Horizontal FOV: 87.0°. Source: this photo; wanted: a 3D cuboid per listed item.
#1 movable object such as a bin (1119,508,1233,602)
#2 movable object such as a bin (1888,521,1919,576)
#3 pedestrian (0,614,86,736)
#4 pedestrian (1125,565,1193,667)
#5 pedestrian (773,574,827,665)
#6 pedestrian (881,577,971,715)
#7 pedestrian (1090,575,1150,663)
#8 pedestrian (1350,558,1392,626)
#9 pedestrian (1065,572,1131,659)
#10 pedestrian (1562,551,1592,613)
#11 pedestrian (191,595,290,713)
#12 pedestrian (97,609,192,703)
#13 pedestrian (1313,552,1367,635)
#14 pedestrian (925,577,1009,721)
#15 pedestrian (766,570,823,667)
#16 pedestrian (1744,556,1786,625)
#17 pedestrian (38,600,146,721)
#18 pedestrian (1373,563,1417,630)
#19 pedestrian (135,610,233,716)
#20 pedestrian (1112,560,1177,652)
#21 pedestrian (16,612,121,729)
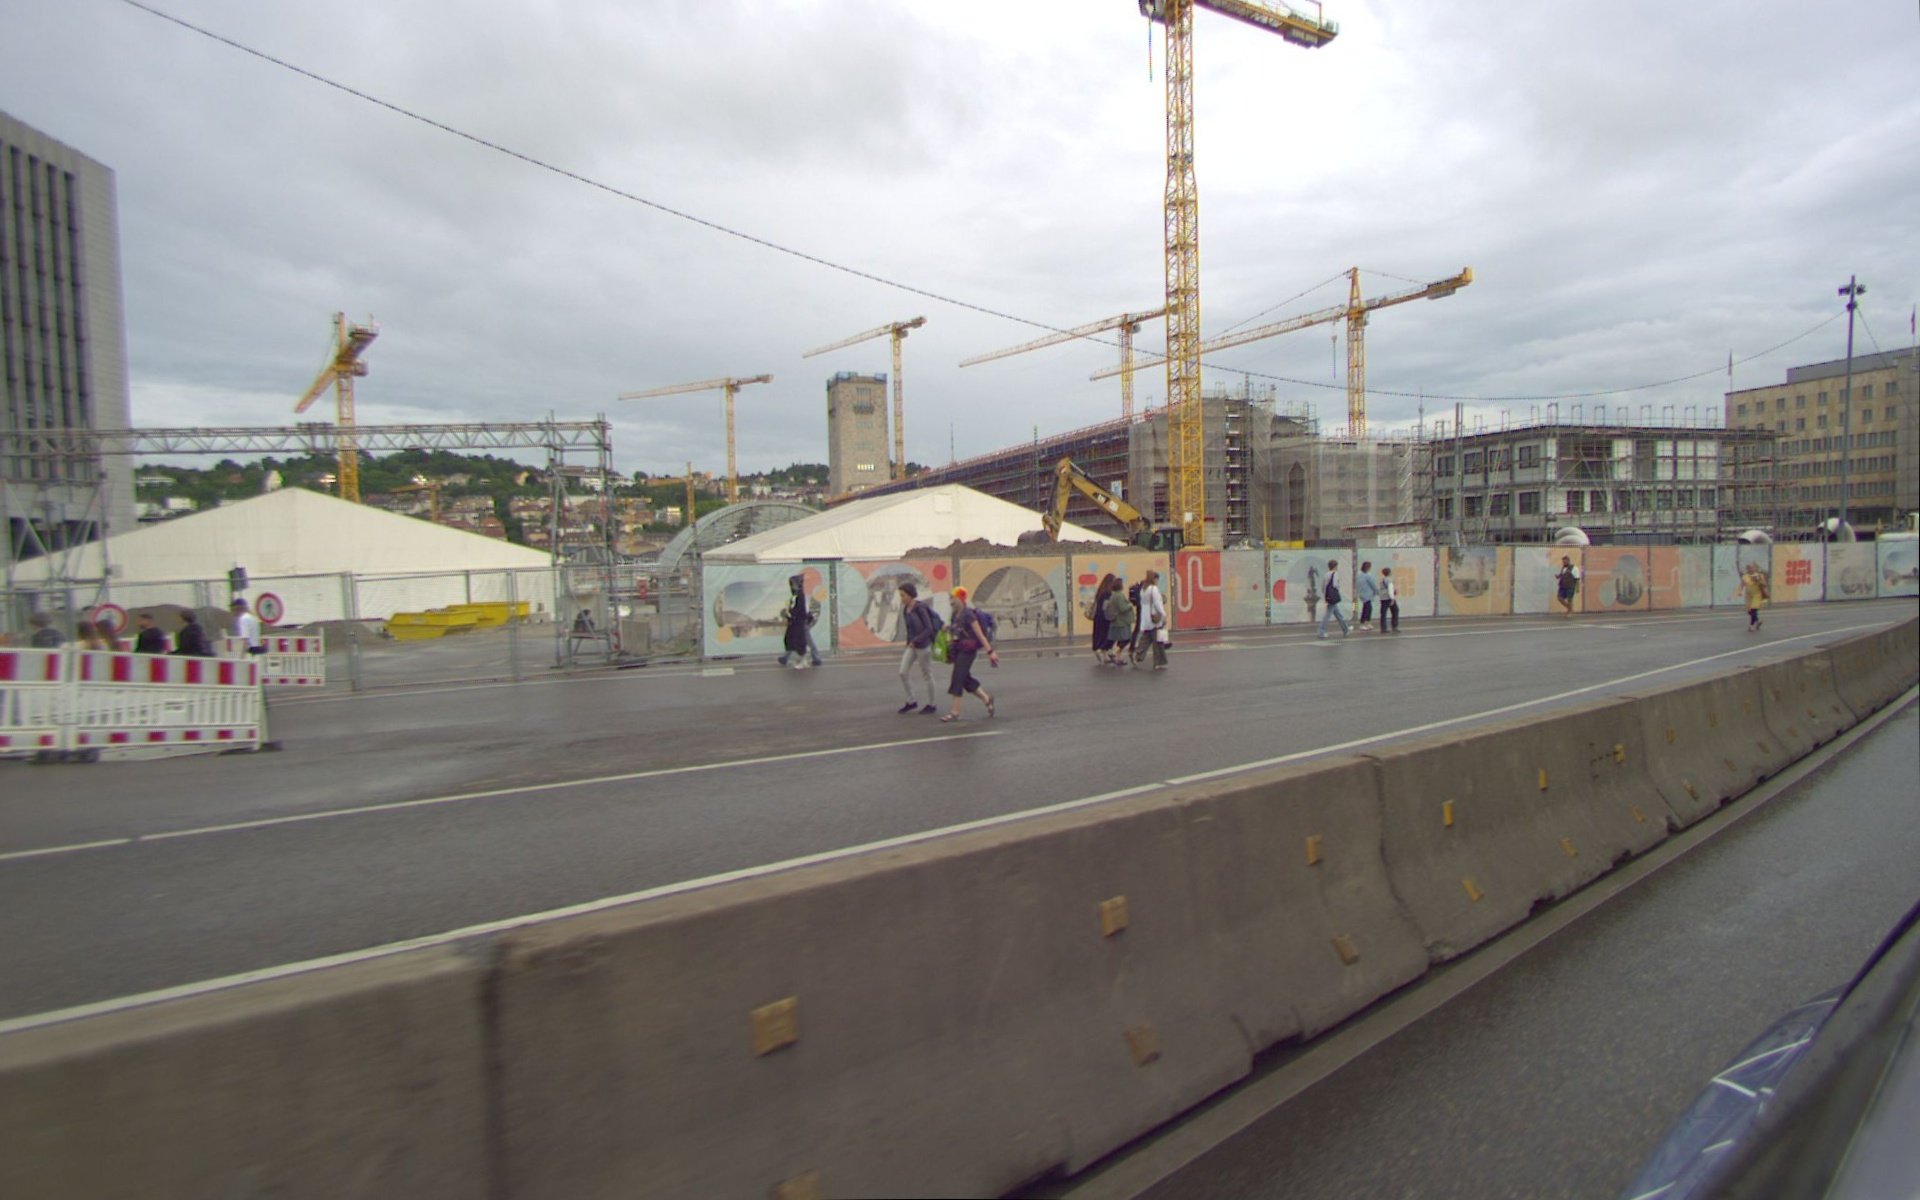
[{"bbox_3d":[8.353,-1.746,39.064,4.150,3.450,1.944,-3,2,-34],"label":"movable object such as a bin"},{"bbox_3d":[47.219,-2.486,48.110,4.069,2.566,1.992,-1,2,15],"label":"movable object such as a bin"},{"bbox_3d":[-13.347,1.060,14.533,0.897,1.657,0.728,-2,2,-12],"label":"pedestrian"},{"bbox_3d":[3.550,0.259,18.083,0.873,1.744,0.782,-2,2,-21],"label":"pedestrian"},{"bbox_3d":[-3.183,0.365,20.101,0.987,1.710,0.871,-2,2,-12],"label":"pedestrian"},{"bbox_3d":[-0.437,0.534,12.540,0.932,1.613,0.865,-2,2,-13],"label":"pedestrian"},{"bbox_3d":[2.929,0.331,18.568,0.867,1.541,0.612,-2,2,-21],"label":"pedestrian"},{"bbox_3d":[10.293,-0.217,25.374,0.751,1.675,0.650,-1,2,-4],"label":"pedestrian"},{"bbox_3d":[2.614,0.278,19.206,0.987,1.572,0.718,-2,2,-21],"label":"pedestrian"},{"bbox_3d":[17.925,-0.529,29.422,0.485,1.769,0.570,-2,2,-22],"label":"pedestrian"},{"bbox_3d":[-11.618,0.847,16.376,0.987,1.803,0.871,-2,2,-12],"label":"pedestrian"},{"bbox_3d":[-14.650,0.989,18.204,0.987,1.572,0.871,-2,2,-12],"label":"pedestrian"},{"bbox_3d":[8.832,-0.162,23.544,0.913,1.871,0.821,-1,2,-4],"label":"pedestrian"},{"bbox_3d":[0.075,0.544,11.815,0.788,1.594,0.735,-2,0,-13],"label":"pedestrian"},{"bbox_3d":[-3.143,0.330,19.143,0.987,1.746,0.871,-2,2,-12],"label":"pedestrian"},{"bbox_3d":[19.888,-0.251,25.011,0.892,1.652,0.648,-3,2,-40],"label":"pedestrian"},{"bbox_3d":[-13.694,0.927,16.002,0.987,1.805,0.775,-2,2,-12],"label":"pedestrian"},{"bbox_3d":[10.585,-0.094,24.617,0.751,1.572,0.650,-1,2,-4],"label":"pedestrian"},{"bbox_3d":[-13.040,1.031,17.041,0.987,1.657,0.871,-2,2,-12],"label":"pedestrian"},{"bbox_3d":[3.833,0.100,21.047,0.987,1.840,0.871,-2,2,-21],"label":"pedestrian"},{"bbox_3d":[-13.431,1.037,15.275,0.897,1.657,0.701,-2,2,-12],"label":"pedestrian"}]
